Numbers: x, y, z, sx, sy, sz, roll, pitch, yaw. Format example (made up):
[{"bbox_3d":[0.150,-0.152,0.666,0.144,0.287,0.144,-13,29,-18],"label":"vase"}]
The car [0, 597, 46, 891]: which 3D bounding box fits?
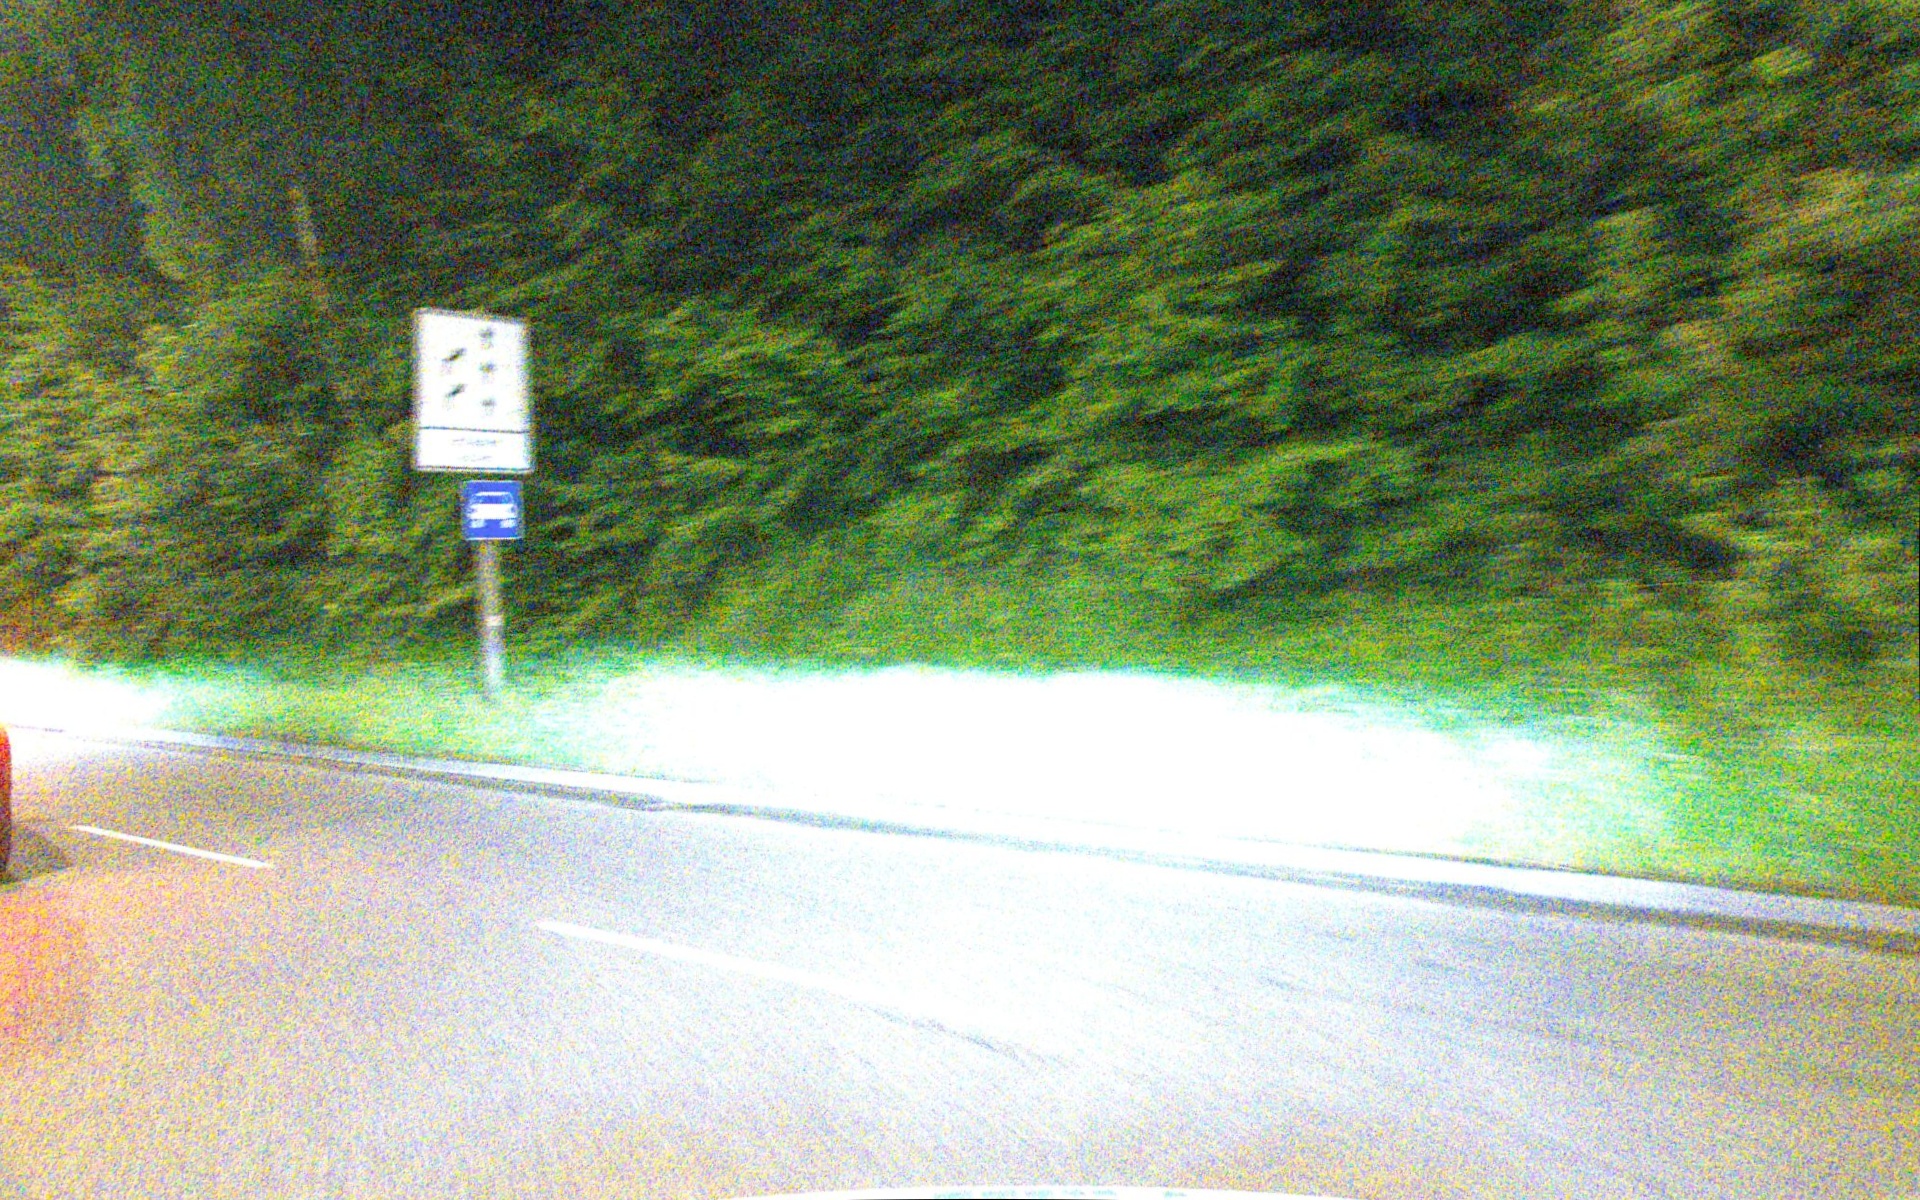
[{"bbox_3d":[-7.031,0.824,10.171,1.840,1.610,3.950,0,-1,-39],"label":"car"}]
